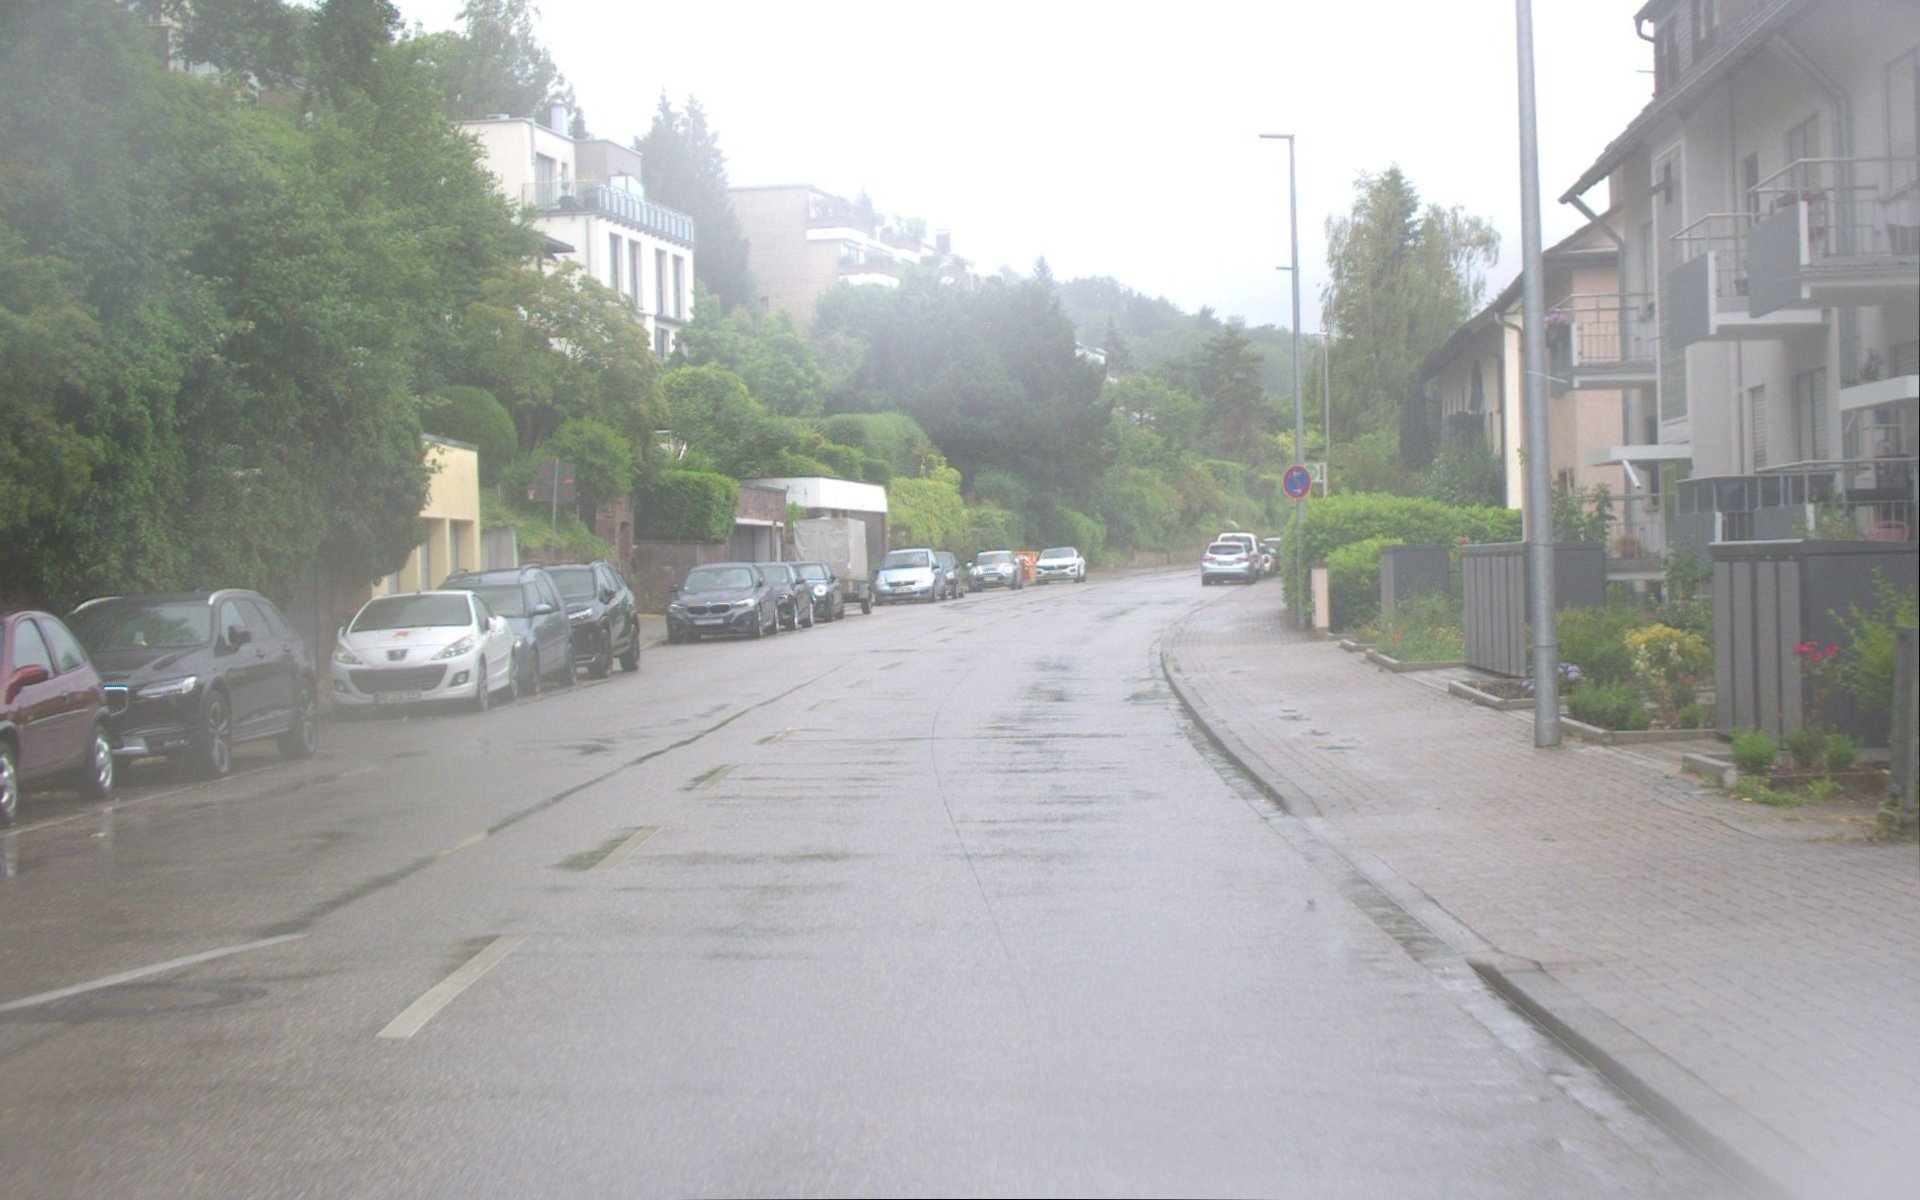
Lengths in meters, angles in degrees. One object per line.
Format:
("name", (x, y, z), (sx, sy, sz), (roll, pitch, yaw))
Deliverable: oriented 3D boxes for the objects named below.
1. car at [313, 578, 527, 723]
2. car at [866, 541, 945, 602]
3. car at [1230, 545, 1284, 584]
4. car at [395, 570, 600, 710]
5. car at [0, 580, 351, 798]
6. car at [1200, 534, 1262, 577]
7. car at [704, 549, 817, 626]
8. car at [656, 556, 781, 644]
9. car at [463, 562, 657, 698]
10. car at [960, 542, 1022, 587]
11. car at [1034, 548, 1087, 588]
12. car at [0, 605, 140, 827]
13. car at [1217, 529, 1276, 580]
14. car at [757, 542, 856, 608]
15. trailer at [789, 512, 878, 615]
("car", (-6.199, 0.538, 39.844), (1.716, 1.360, 4.084), (-5, 2, 0))
("car", (-1.575, -0.850, 100.176), (1.756, 1.534, 3.756), (-5, 1, 6))
("car", (11.554, -1.401, 133.505), (1.710, 1.398, 4.202), (-2, 1, 9))
("car", (-5.988, 0.483, 44.987), (1.742, 1.555, 4.109), (-4, 1, 4))
("car", (-6.589, 0.678, 28.471), (1.908, 1.475, 4.755), (-5, 1, 3))
("car", (9.673, -1.605, 122.474), (1.790, 1.455, 4.307), (-2, 1, 9))
("car", (-4.227, -0.290, 73.524), (1.786, 1.410, 4.217), (-4, 2, 4))
("car", (-4.713, -0.028, 67.695), (1.786, 1.450, 4.755), (-5, 2, 3))
("car", (-5.736, 0.395, 49.813), (1.874, 1.620, 4.593), (-5, 1, 4))
("car", (1.137, -1.284, 122.826), (1.756, 1.397, 3.769), (-5, 1, 6))
("car", (4.160, -1.322, 141.760), (1.756, 1.492, 4.219), (-3, 1, 7))
("car", (-6.942, 0.800, 23.606), (1.564, 1.360, 3.907), (-4, 1, 0))
("car", (10.657, -1.704, 127.790), (1.785, 1.784, 4.359), (-2, 1, 9))
("car", (-3.564, -0.601, 80.326), (1.808, 1.344, 3.776), (-4, 2, 4))
("trailer", (-3.144, -0.938, 85.887), (1.537, 2.391, 3.072), (-4, 1, 8))
